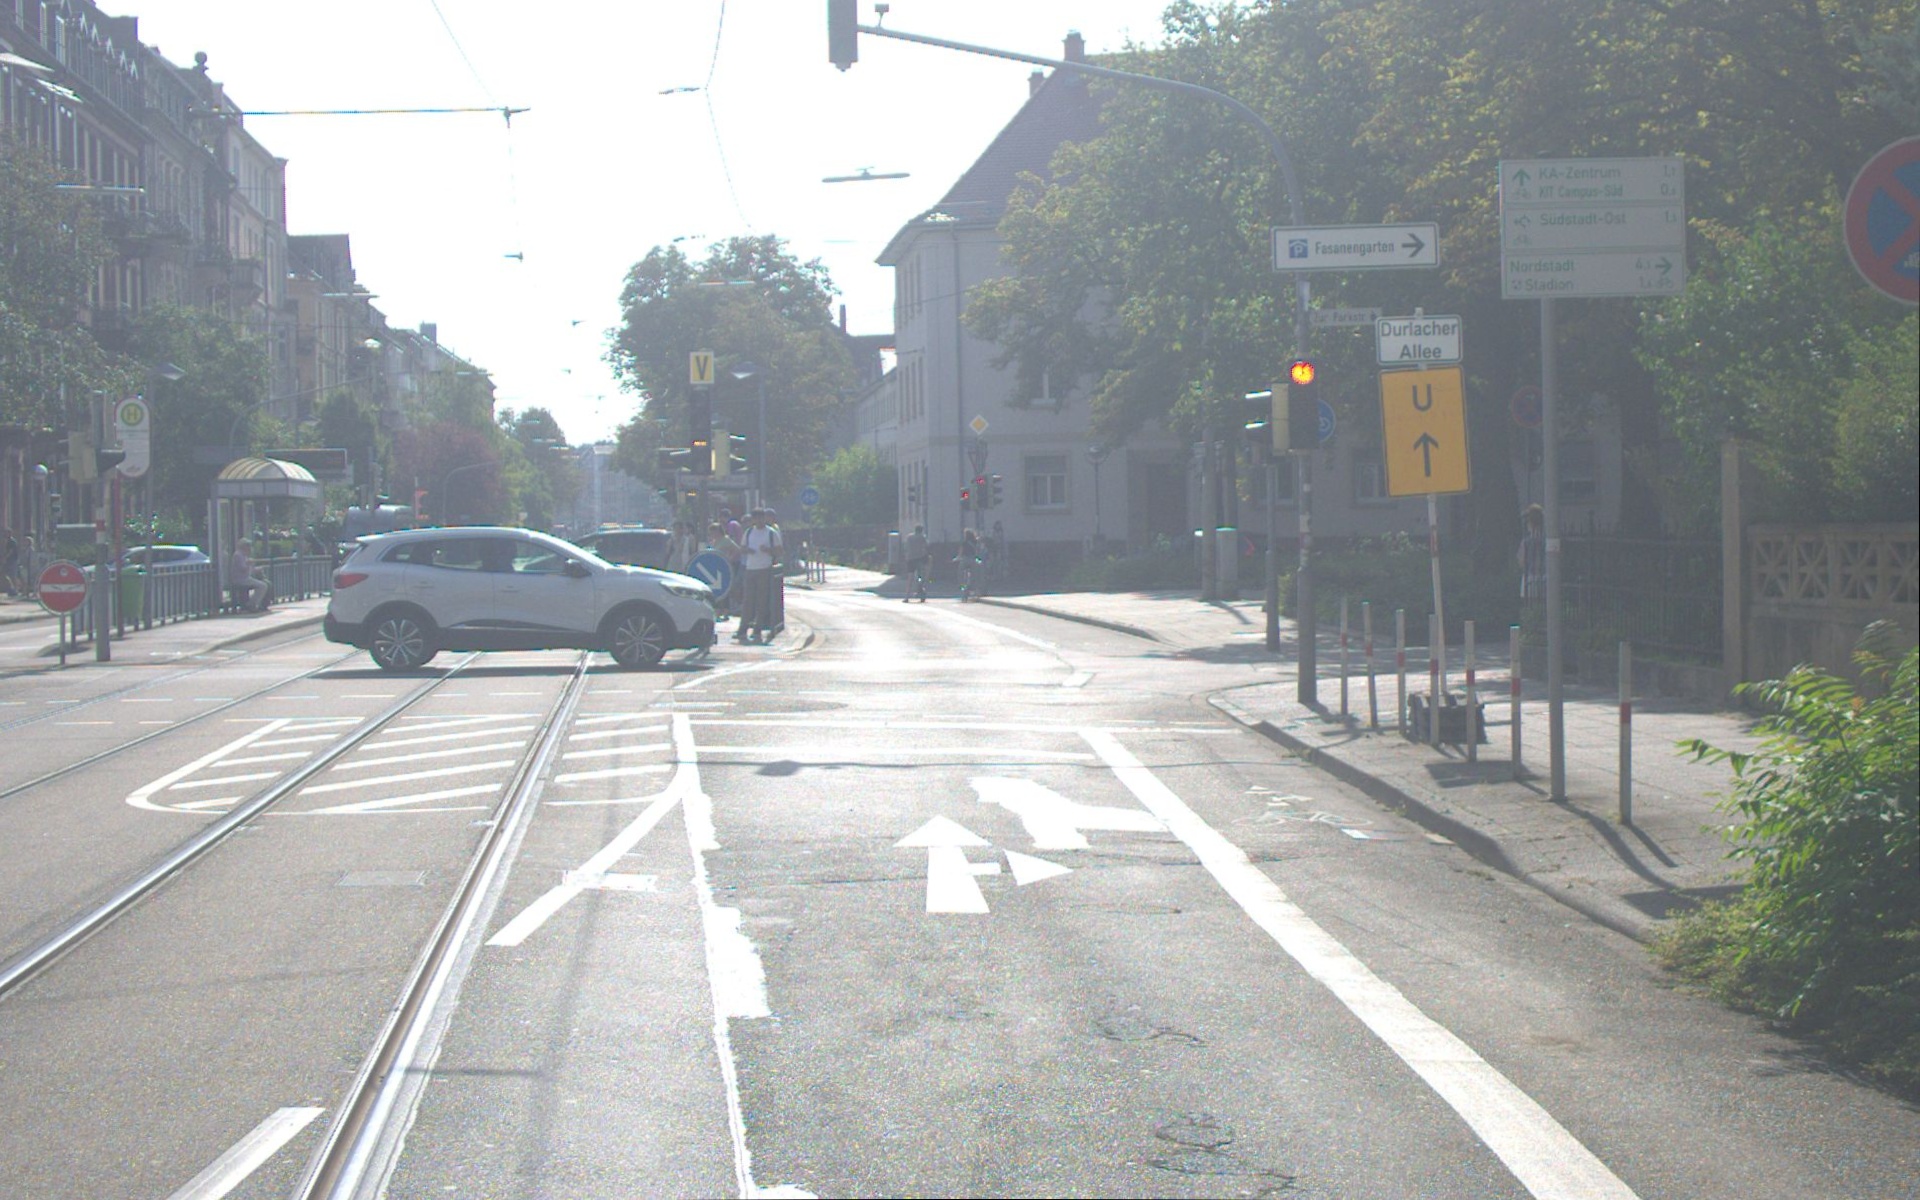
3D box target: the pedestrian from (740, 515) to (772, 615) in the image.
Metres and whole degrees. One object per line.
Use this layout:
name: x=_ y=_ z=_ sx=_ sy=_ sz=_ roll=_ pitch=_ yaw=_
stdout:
pedestrian: x=-3.630 y=-0.627 z=61.216 sx=0.504 sy=1.753 sz=0.534 roll=2 pitch=3 yaw=-4

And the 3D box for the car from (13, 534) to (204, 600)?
car: x=-21.385 y=-0.843 z=86.306 sx=4.321 sy=1.564 sz=2.000 roll=-1 pitch=1 yaw=-25

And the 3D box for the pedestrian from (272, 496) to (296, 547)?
pedestrian: x=-23.333 y=-2.710 z=118.652 sx=0.749 sy=1.725 sz=0.772 roll=-1 pitch=1 yaw=-13

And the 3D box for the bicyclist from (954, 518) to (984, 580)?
bicyclist: x=0.206 y=-1.177 z=78.623 sx=0.558 sy=1.412 sz=0.872 roll=-1 pitch=1 yaw=-6

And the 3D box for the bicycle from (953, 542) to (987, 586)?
bicycle: x=0.218 y=-0.837 z=78.617 sx=0.558 sy=0.974 sz=1.857 roll=-1 pitch=1 yaw=-6

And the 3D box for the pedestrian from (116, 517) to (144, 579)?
pedestrian: x=-24.162 y=-1.511 z=100.081 sx=0.533 sy=1.753 sz=0.544 roll=3 pitch=4 yaw=21

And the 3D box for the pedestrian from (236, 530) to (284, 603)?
pedestrian: x=-13.116 y=-0.631 z=64.411 sx=0.827 sy=1.354 sz=0.776 roll=-1 pitch=1 yaw=-9

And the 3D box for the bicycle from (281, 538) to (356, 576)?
bicycle: x=-16.790 y=-1.124 z=90.031 sx=1.850 sy=0.954 sz=0.548 roll=-1 pitch=1 yaw=-4

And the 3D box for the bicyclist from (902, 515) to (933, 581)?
bicyclist: x=-0.977 y=-1.205 z=78.957 sx=0.629 sy=1.502 sz=0.679 roll=-1 pitch=1 yaw=-6

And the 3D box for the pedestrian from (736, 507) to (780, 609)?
pedestrian: x=-3.570 y=-0.741 z=60.598 sx=0.708 sy=1.753 sz=0.534 roll=2 pitch=3 yaw=-4

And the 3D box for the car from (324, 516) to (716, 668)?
car: x=-4.967 y=-0.116 z=39.320 sx=4.317 sy=1.625 sz=2.000 roll=-1 pitch=1 yaw=-4

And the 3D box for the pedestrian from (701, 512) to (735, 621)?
pedestrian: x=-3.964 y=-0.549 z=56.368 sx=0.504 sy=1.753 sz=0.534 roll=2 pitch=3 yaw=-4

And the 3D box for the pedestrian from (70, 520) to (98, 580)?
pedestrian: x=-24.998 y=-1.435 z=98.069 sx=0.532 sy=1.685 sz=0.544 roll=3 pitch=3 yaw=16

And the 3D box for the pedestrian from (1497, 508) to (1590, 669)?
pedestrian: x=6.340 y=-0.134 z=37.374 sx=0.749 sy=1.725 sz=0.772 roll=-1 pitch=1 yaw=-13

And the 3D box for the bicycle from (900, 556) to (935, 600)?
bicycle: x=-0.974 y=-0.506 z=78.973 sx=0.629 sy=0.974 sz=1.770 roll=-1 pitch=1 yaw=-6

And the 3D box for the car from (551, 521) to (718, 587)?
car: x=-8.556 y=-1.222 z=90.509 sx=4.321 sy=1.669 sz=2.000 roll=-1 pitch=1 yaw=-5

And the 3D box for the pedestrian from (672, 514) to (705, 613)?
pedestrian: x=-4.942 y=-0.666 z=62.553 sx=0.532 sy=1.753 sz=0.545 roll=2 pitch=3 yaw=-3

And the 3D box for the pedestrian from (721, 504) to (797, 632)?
pedestrian: x=-2.772 y=-0.452 z=47.457 sx=0.701 sy=1.719 sz=0.747 roll=4 pitch=4 yaw=28

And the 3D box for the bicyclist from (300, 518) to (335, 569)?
bicyclist: x=-16.816 y=-1.473 z=90.016 sx=0.819 sy=1.323 sz=0.548 roll=-1 pitch=1 yaw=-4

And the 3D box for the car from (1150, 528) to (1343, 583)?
car: x=7.052 y=-1.090 z=84.798 sx=4.330 sy=1.316 sz=1.996 roll=0 pitch=1 yaw=35

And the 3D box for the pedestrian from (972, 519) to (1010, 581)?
pedestrian: x=0.878 y=-1.407 z=97.332 sx=0.892 sy=1.734 sz=0.775 roll=0 pitch=1 yaw=17

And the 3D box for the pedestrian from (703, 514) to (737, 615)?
pedestrian: x=-4.270 y=-0.636 z=61.176 sx=0.543 sy=1.753 sz=0.534 roll=2 pitch=3 yaw=-4

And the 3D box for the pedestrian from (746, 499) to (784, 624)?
pedestrian: x=-2.941 y=-0.582 z=51.720 sx=0.504 sy=1.827 sz=0.534 roll=2 pitch=3 yaw=-4

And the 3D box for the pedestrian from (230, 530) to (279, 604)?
pedestrian: x=-13.015 y=-0.614 z=63.439 sx=0.827 sy=1.354 sz=0.776 roll=-1 pitch=1 yaw=-9
